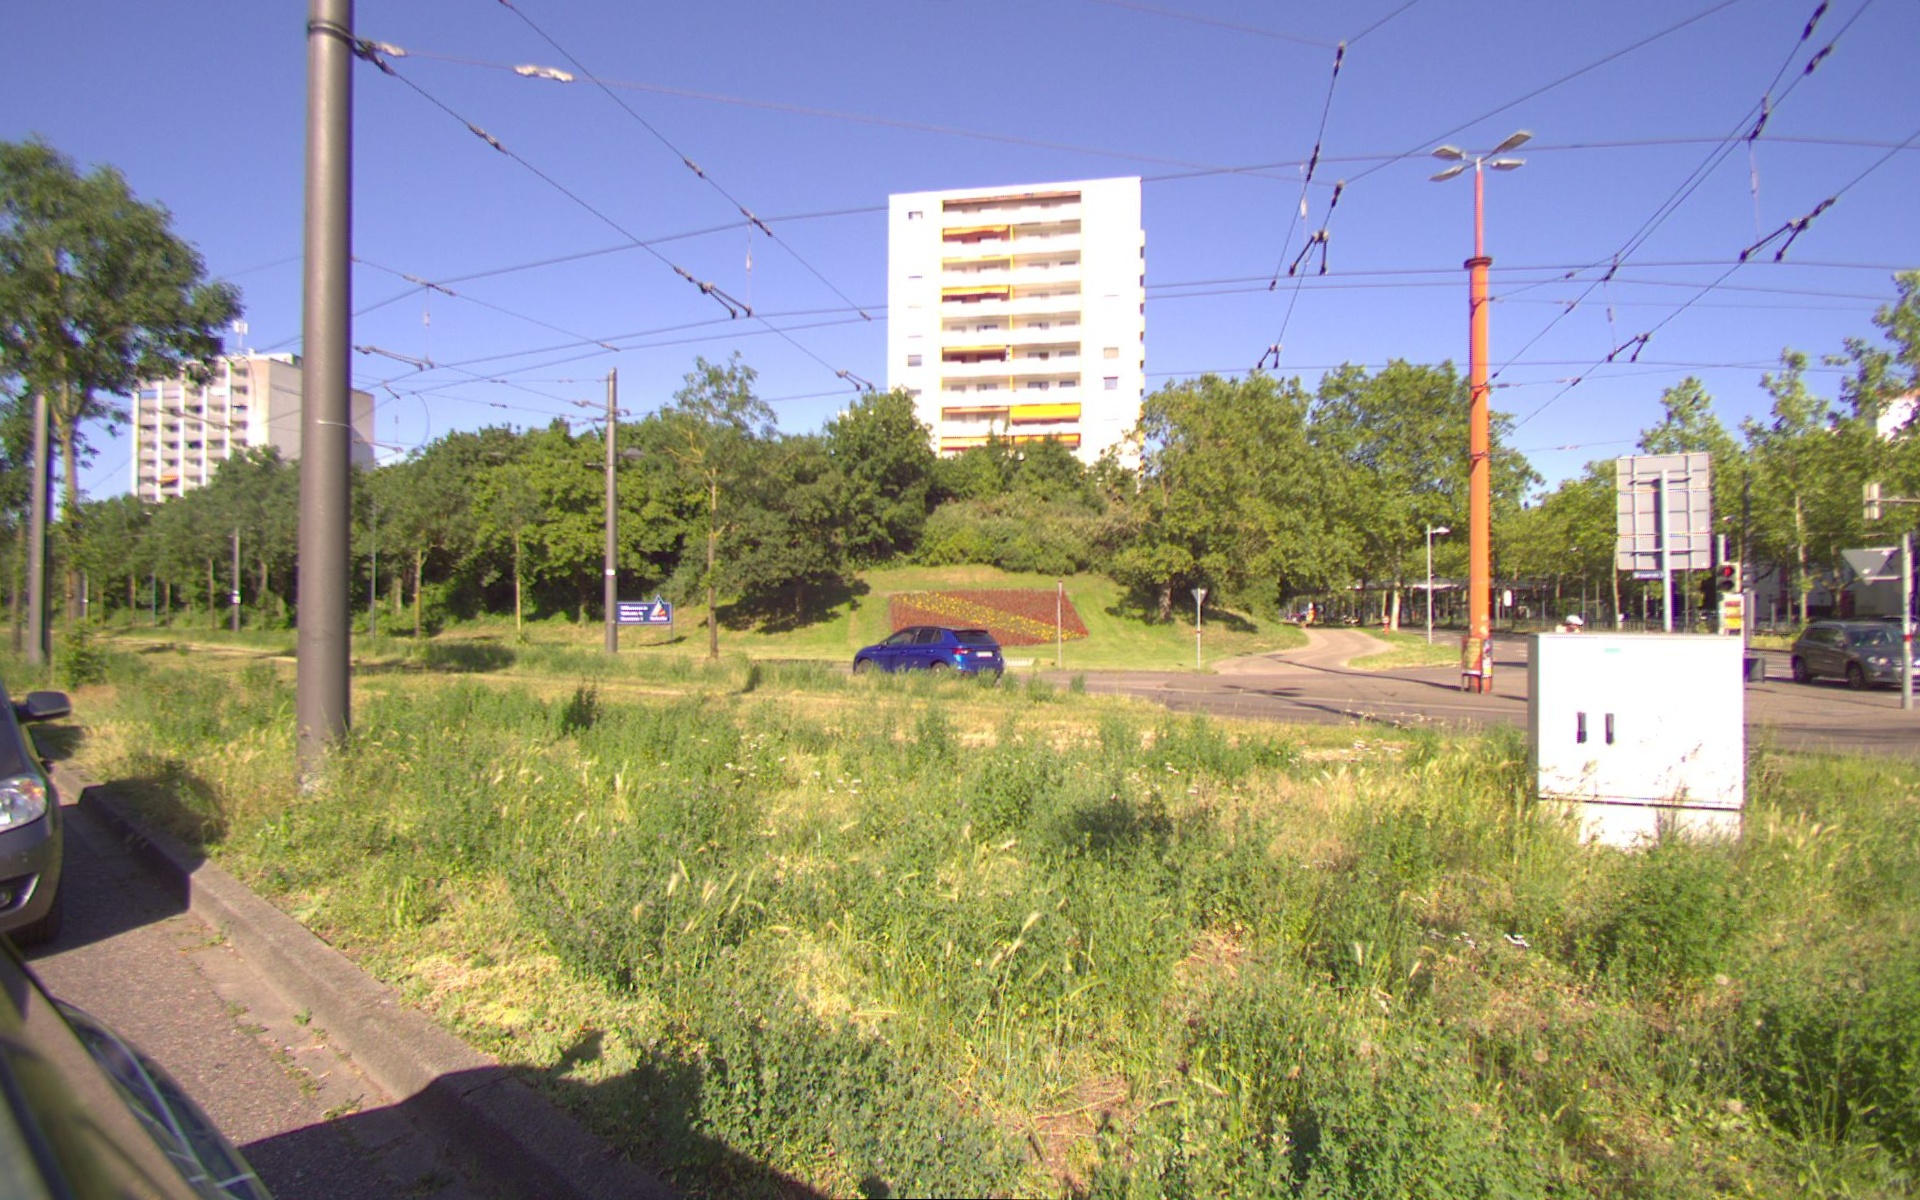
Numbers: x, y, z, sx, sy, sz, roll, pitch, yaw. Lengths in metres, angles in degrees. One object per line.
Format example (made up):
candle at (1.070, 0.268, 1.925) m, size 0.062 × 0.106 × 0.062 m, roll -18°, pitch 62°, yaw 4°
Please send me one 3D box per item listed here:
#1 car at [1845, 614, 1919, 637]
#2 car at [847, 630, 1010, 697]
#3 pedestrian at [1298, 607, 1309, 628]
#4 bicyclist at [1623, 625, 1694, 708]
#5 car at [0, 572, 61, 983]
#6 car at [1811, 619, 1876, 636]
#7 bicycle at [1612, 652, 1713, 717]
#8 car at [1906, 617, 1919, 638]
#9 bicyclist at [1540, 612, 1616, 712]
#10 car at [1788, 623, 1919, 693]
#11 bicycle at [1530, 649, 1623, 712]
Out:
car at (63.809, 1.748, 69.987) m, size 1.589 × 1.471 × 3.656 m, roll -1°, pitch 0°, yaw -38°
car at (-0.805, 1.425, 23.855) m, size 3.910 × 1.431 × 1.556 m, roll -1°, pitch -2°, yaw 43°
pedestrian at (25.241, 1.278, 74.354) m, size 0.682 × 1.568 × 0.984 m, roll -1°, pitch 0°, yaw 20°
bicyclist at (13.497, 1.269, 19.581) m, size 0.710 × 1.536 × 0.924 m, roll -1°, pitch 0°, yaw 0°
car at (-5.819, 0.756, 4.885) m, size 3.998 × 1.652 × 1.726 m, roll -1°, pitch 0°, yaw 41°
car at (64.413, 1.994, 73.838) m, size 1.425 × 1.197 × 3.423 m, roll -1°, pitch 0°, yaw -41°
bicycle at (13.510, 1.599, 19.531) m, size 0.571 × 1.079 × 1.916 m, roll -1°, pitch 0°, yaw 0°
car at (63.694, 1.781, 65.155) m, size 1.472 × 1.341 × 3.746 m, roll -1°, pitch 0°, yaw -27°
bicyclist at (12.121, 1.196, 19.866) m, size 0.880 × 1.881 × 0.924 m, roll -1°, pitch 0°, yaw -2°
car at (23.022, 1.396, 25.411) m, size 1.900 × 1.507 × 4.026 m, roll -1°, pitch 0°, yaw 15°
bicycle at (12.075, 1.552, 19.884) m, size 0.571 × 1.079 × 1.917 m, roll -1°, pitch 0°, yaw -3°
